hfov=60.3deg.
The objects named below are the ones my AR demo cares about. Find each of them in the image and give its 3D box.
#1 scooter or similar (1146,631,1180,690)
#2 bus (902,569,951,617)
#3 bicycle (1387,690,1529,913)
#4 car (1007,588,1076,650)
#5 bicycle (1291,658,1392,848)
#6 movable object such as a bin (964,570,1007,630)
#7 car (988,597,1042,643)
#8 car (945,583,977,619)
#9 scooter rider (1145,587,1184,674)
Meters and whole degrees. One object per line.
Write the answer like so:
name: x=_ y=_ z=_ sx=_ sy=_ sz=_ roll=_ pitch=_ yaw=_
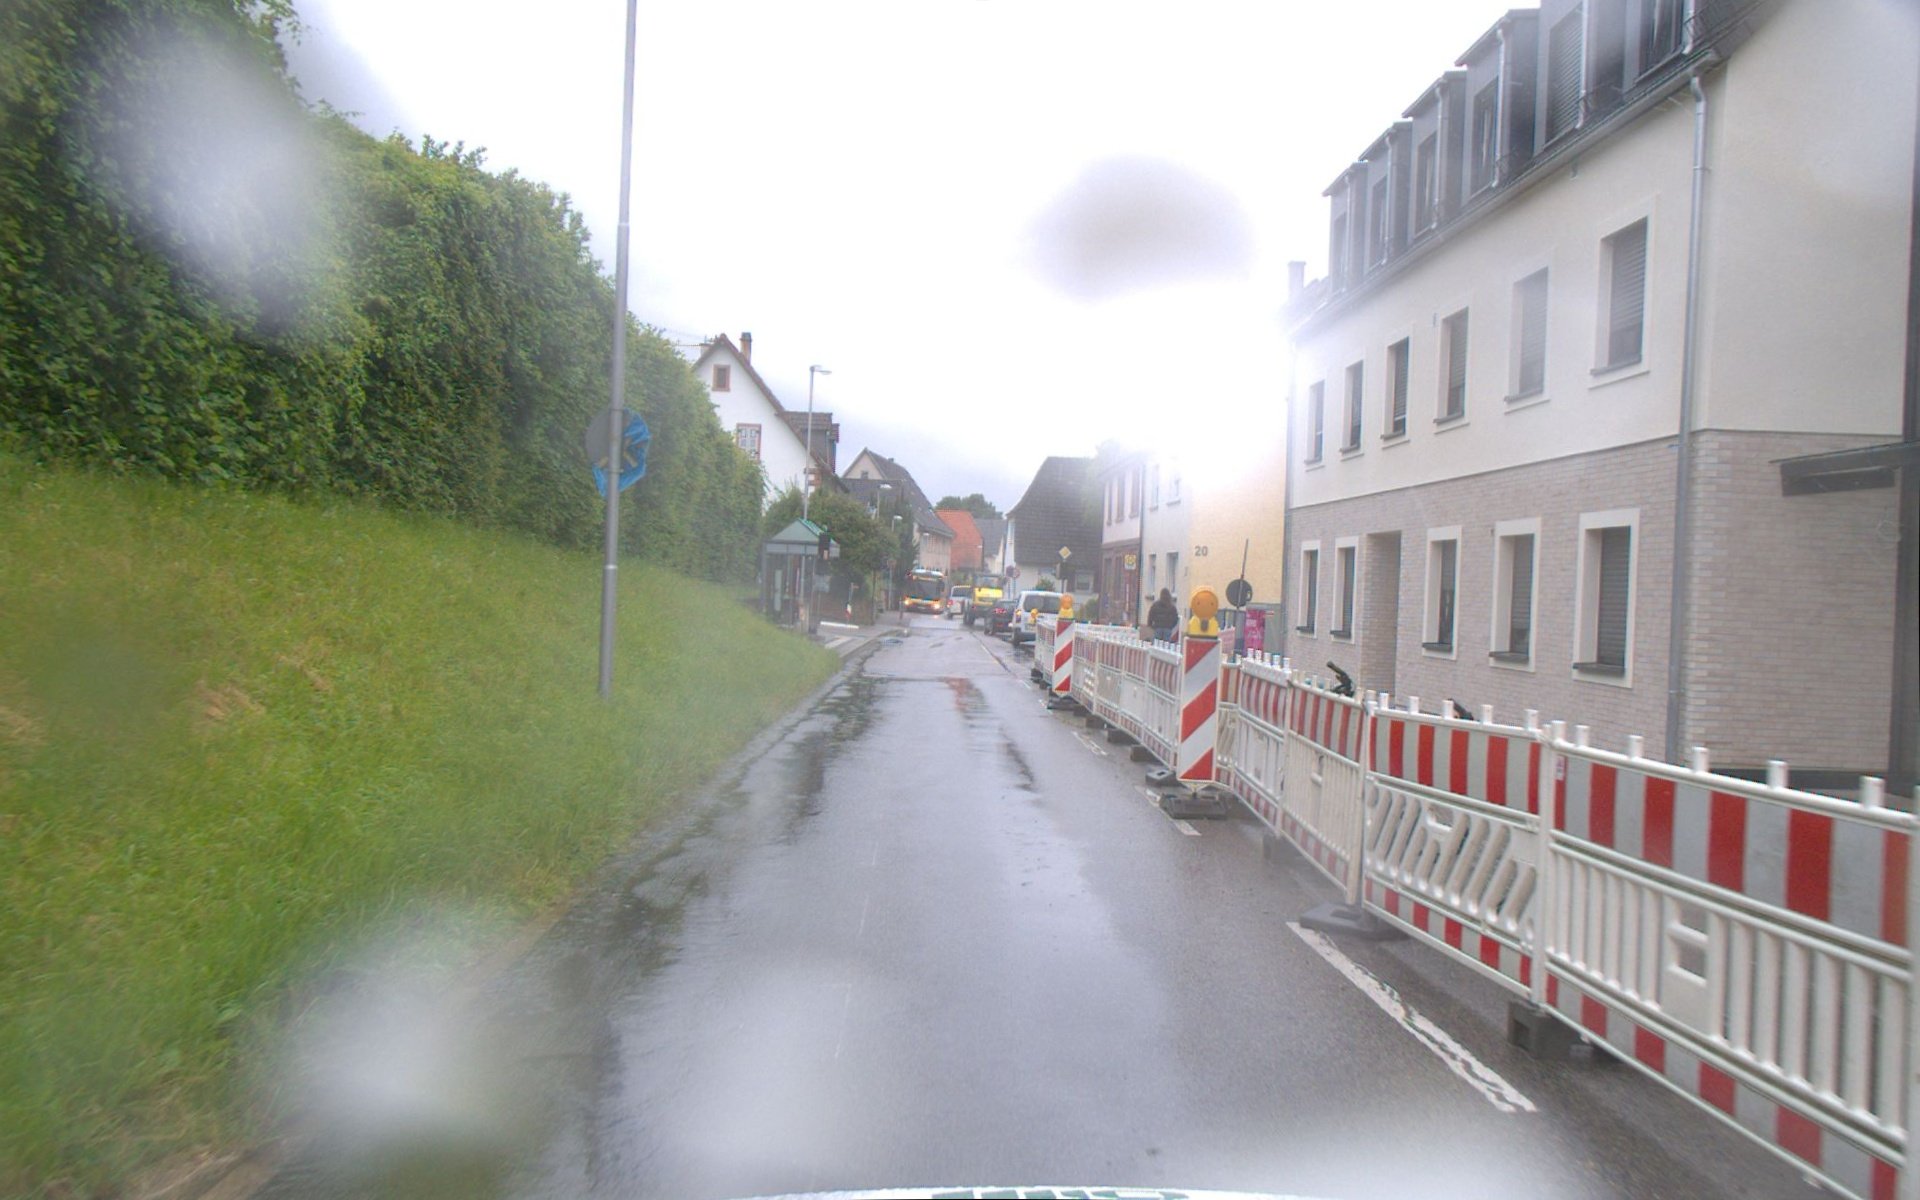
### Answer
scooter or similar: x=4.176 y=1.224 z=33.983 sx=0.607 sy=1.147 sz=1.403 roll=3 pitch=0 yaw=8
bus: x=-2.358 y=-0.572 z=121.307 sx=2.595 sy=3.051 sz=12.198 roll=3 pitch=2 yaw=2
bicycle: x=2.650 y=1.043 z=8.885 sx=0.397 sy=1.047 sz=1.221 roll=1 pitch=0 yaw=1
car: x=2.660 y=0.594 z=54.642 sx=1.856 sy=1.825 sz=3.812 roll=4 pitch=0 yaw=-2
bicycle: x=2.548 y=0.992 z=11.118 sx=0.397 sy=1.163 sz=1.221 roll=1 pitch=0 yaw=1
movable object such as a bin: x=1.200 y=-0.009 z=80.082 sx=1.692 sy=2.699 sz=3.972 roll=4 pitch=0 yaw=-2
car: x=2.168 y=0.771 z=66.332 sx=1.774 sy=1.624 sz=3.753 roll=4 pitch=0 yaw=-3
car: x=0.072 y=0.073 z=101.647 sx=1.691 sy=2.042 sz=3.975 roll=4 pitch=0 yaw=3
scooter rider: x=4.215 y=0.627 z=34.148 sx=0.715 sy=1.763 sz=0.518 roll=3 pitch=-1 yaw=8
